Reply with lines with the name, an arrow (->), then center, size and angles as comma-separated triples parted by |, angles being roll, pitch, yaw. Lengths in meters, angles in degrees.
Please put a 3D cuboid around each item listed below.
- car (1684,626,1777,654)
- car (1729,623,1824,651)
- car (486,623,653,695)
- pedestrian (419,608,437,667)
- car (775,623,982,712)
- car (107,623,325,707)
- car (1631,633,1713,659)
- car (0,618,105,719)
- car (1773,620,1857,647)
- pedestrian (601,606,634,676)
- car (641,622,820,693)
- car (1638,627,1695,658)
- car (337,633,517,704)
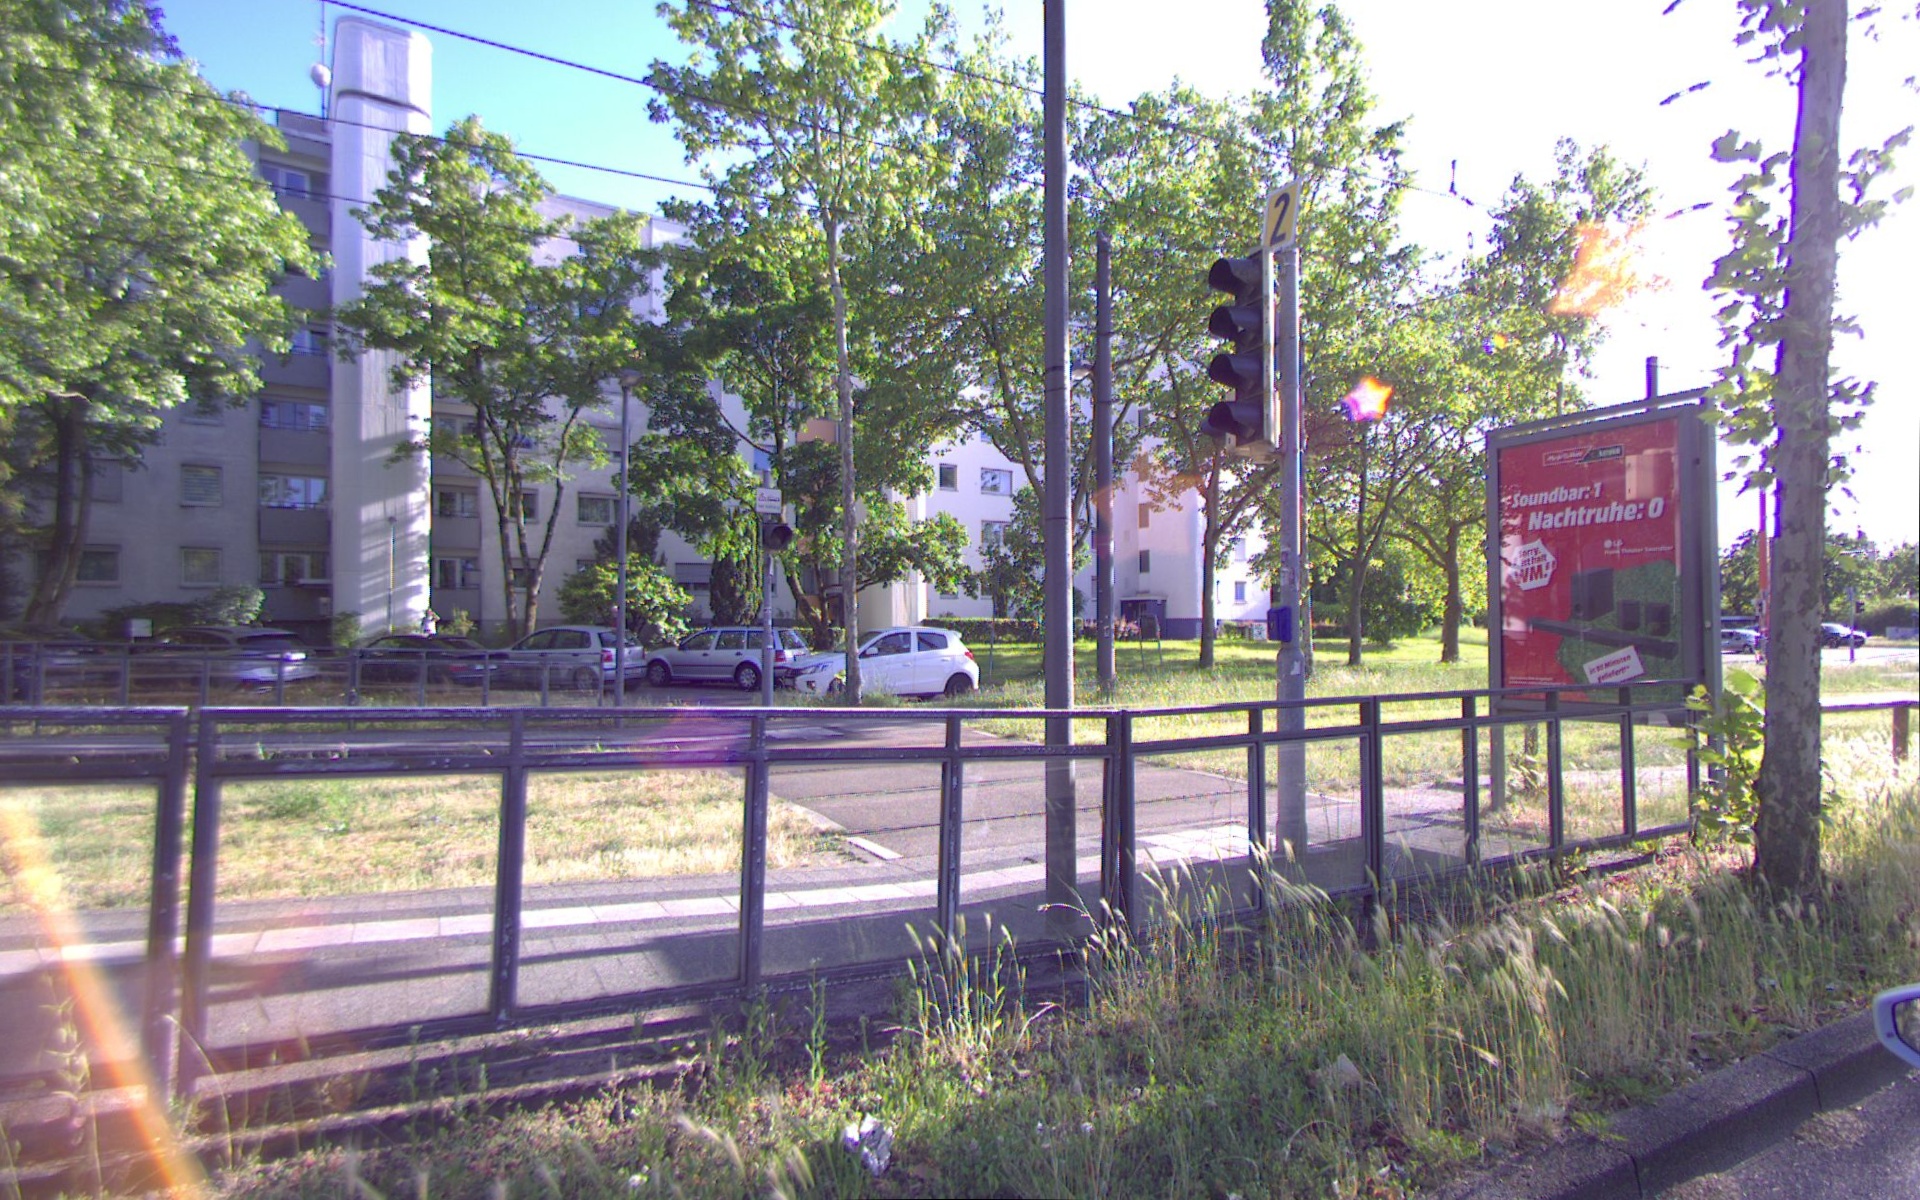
car -> 48.109, 2.494, 62.851 | 1.866, 1.632, 4.493 | -2, -2, -10
car -> 51.500, 2.349, 63.453 | 1.866, 1.632, 4.493 | -2, -2, -10
car -> -8.730, 1.284, 22.518 | 3.222, 1.450, 1.571 | 1, 0, 19
pedestrian -> -16.669, 1.169, 31.483 | 0.445, 1.815, 0.315 | 1, -1, -36
car -> -1.561, 1.233, 19.483 | 3.673, 1.469, 1.624 | -1, 0, -30
car -> -14.030, 1.180, 18.990 | 3.316, 1.445, 1.541 | 1, -1, 14
car -> 48.215, 3.088, 68.174 | 1.866, 1.632, 4.493 | -2, -2, -10
car -> -16.648, 1.119, 17.258 | 3.075, 1.568, 1.465 | 1, 0, 14
car -> 57.023, 2.259, 67.084 | 1.866, 1.642, 3.994 | -2, -2, -10
pedestrian -> -8.990, 1.065, 26.384 | 0.709, 1.816, 0.473 | 1, 0, -30
car -> -5.454, 1.318, 23.939 | 3.843, 1.496, 1.632 | 1, -1, 19
car -> 39.264, 2.312, 55.940 | 1.864, 1.564, 4.496 | 1, -1, 25
car -> -11.002, 1.371, 20.741 | 3.318, 1.270, 1.465 | 1, -1, 21
